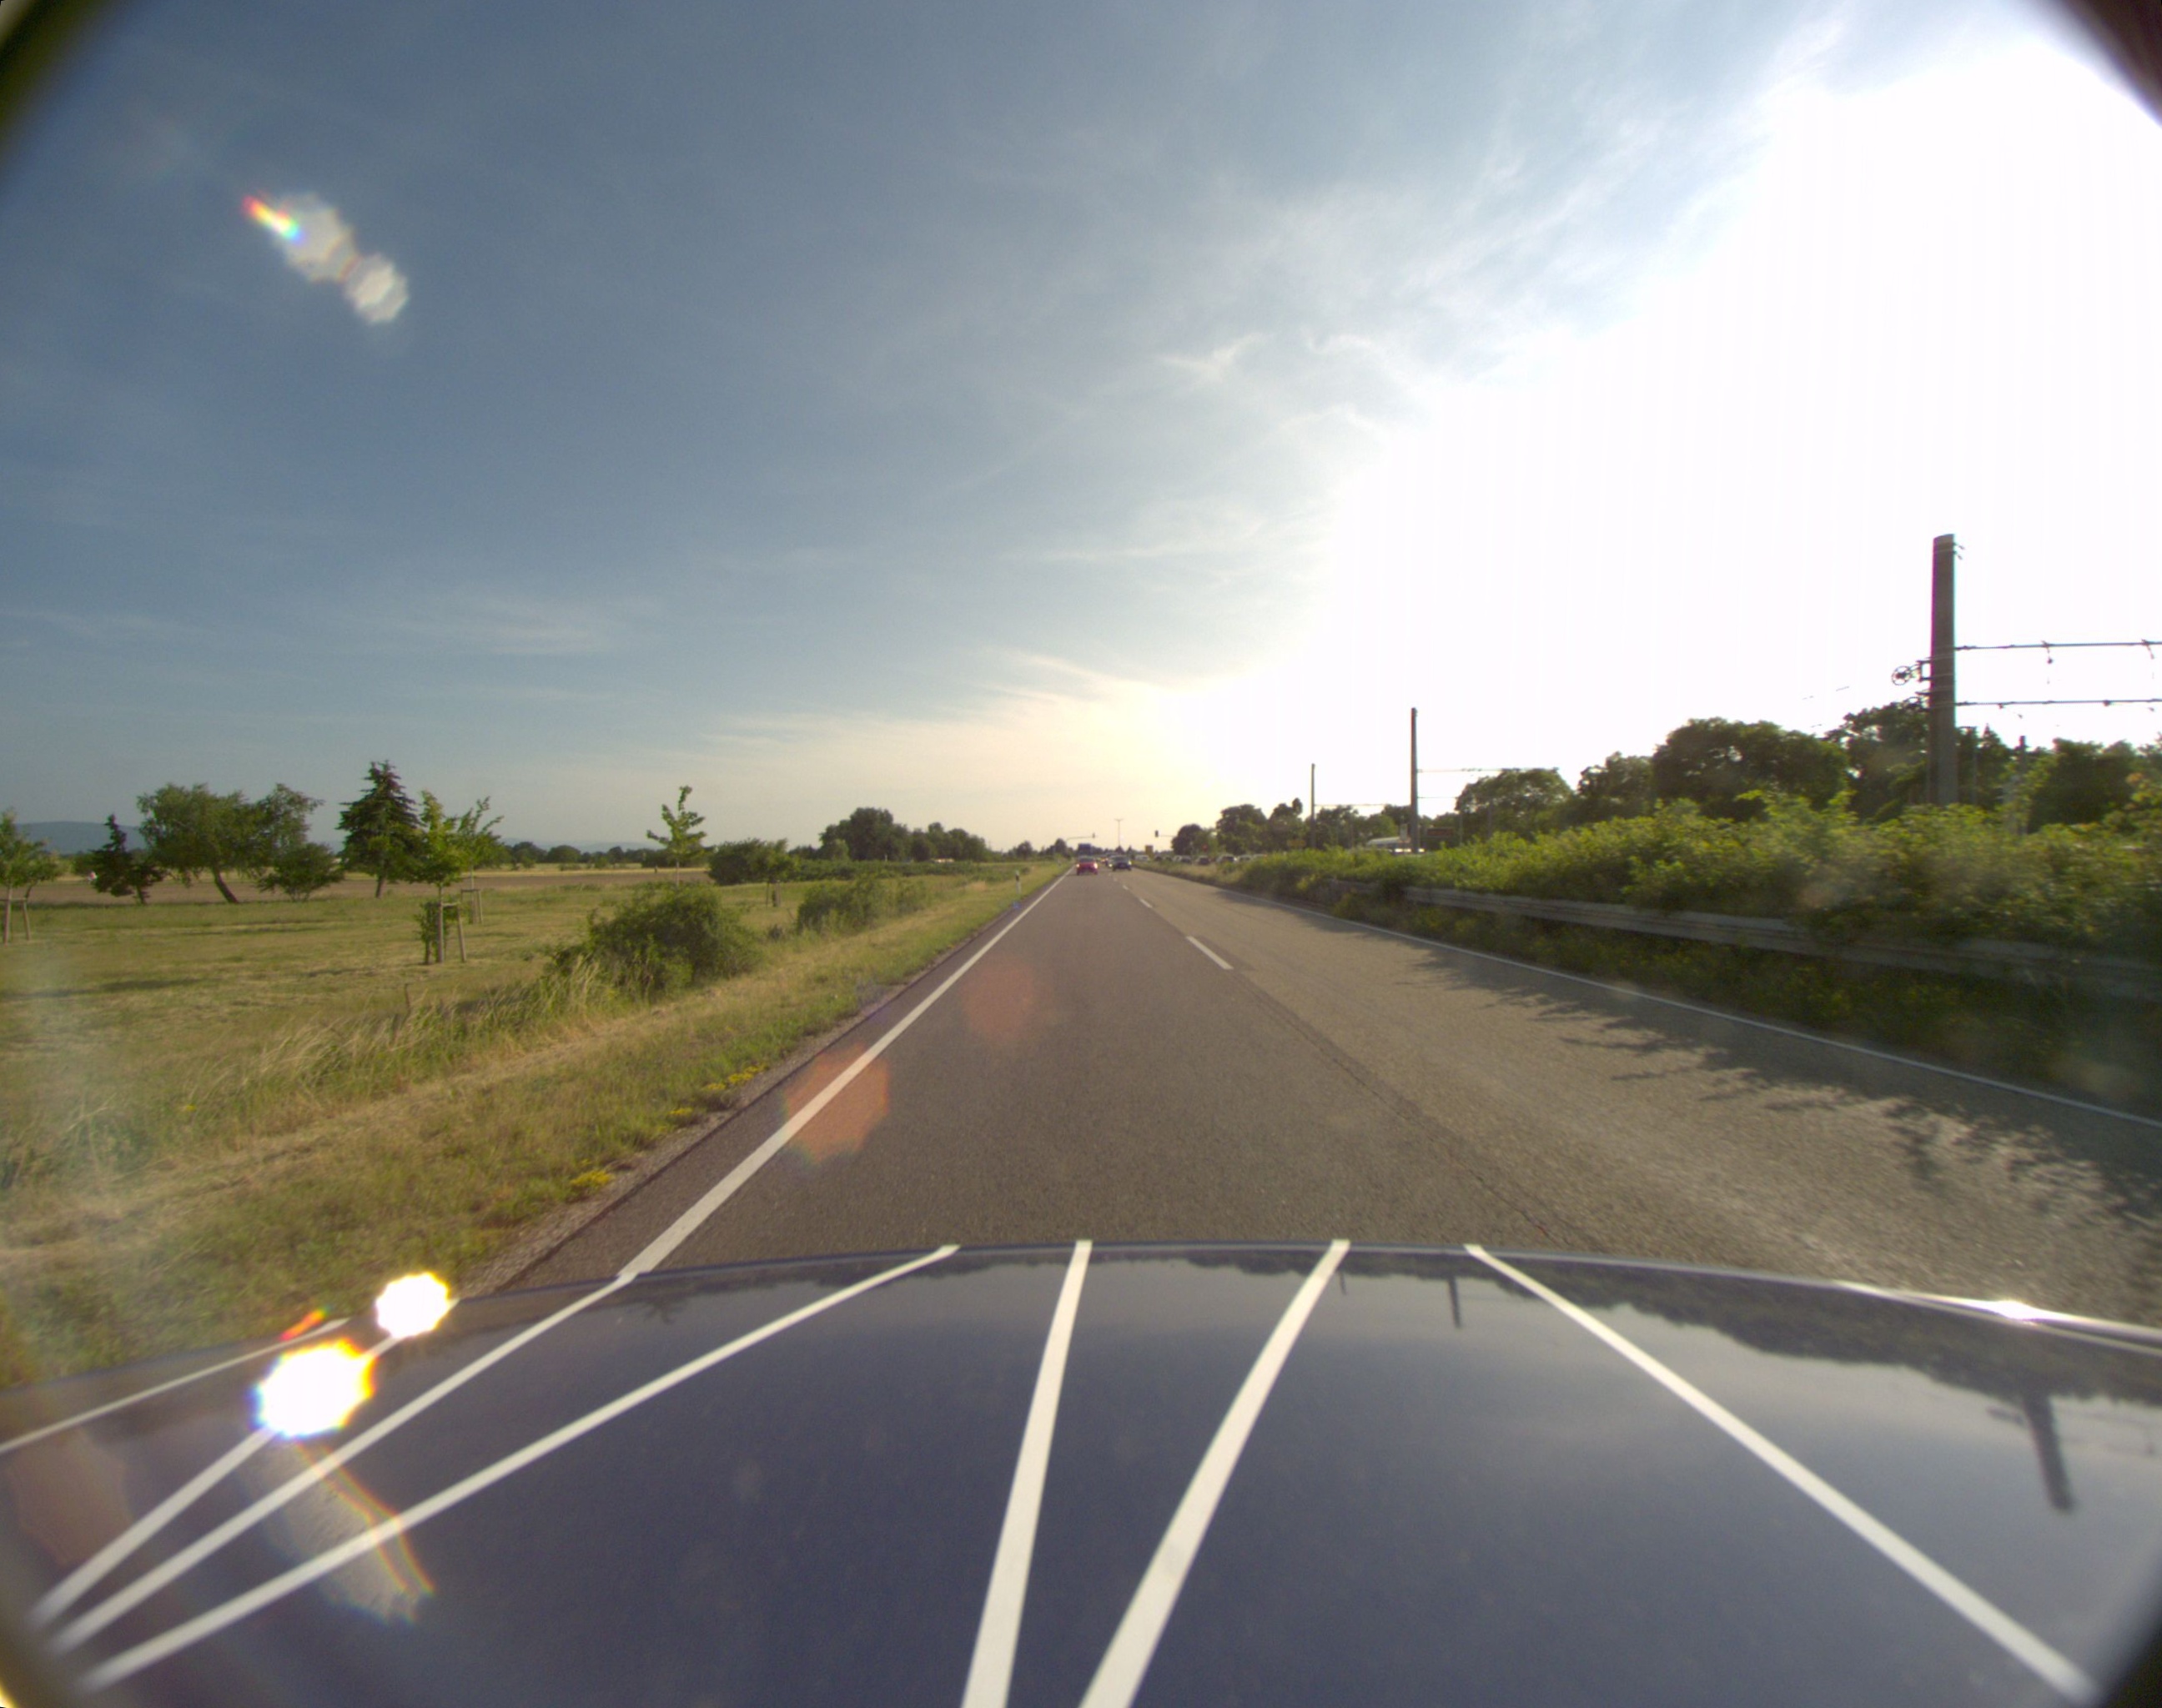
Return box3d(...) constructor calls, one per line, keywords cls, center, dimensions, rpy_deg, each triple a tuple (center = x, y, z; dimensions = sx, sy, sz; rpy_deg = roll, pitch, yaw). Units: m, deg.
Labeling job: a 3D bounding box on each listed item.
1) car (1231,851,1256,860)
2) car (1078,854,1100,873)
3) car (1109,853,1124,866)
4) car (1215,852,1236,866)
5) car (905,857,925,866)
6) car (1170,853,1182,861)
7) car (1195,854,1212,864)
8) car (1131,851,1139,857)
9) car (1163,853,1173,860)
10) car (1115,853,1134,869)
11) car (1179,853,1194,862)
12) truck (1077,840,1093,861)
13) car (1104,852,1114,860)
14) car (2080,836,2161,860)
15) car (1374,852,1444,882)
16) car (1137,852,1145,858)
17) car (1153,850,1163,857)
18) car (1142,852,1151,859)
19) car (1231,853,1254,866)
box3d(cls="car", center=(35.205, 0.296, 164.885), dimensions=(4.844, 1.876, 2.253), rpy_deg=(-2, 0, -4))
box3d(cls="car", center=(0.649, 0.731, 63.389), dimensions=(1.735, 1.467, 4.000), rpy_deg=(-2, 0, 1))
box3d(cls="car", center=(4.250, 0.625, 91.210), dimensions=(1.636, 1.442, 4.000), rpy_deg=(-2, 0, 1))
box3d(cls="car", center=(17.437, 0.566, 91.747), dimensions=(1.664, 1.677, 4.229), rpy_deg=(1, 0, 0))
box3d(cls="car", center=(-35.898, 1.627, 164.237), dimensions=(4.002, 1.641, 1.997), rpy_deg=(-2, 0, -15))
box3d(cls="car", center=(17.523, 0.554, 140.744), dimensions=(1.664, 1.373, 4.468), rpy_deg=(1, 0, 0))
box3d(cls="car", center=(17.320, 0.638, 107.487), dimensions=(1.664, 1.373, 4.541), rpy_deg=(1, 0, 0))
box3d(cls="car", center=(15.110, 0.043, 213.173), dimensions=(1.862, 1.735, 4.529), rpy_deg=(1, 0, 1))
box3d(cls="car", center=(18.138, 0.529, 158.278), dimensions=(1.664, 1.373, 4.000), rpy_deg=(1, 0, 0))
box3d(cls="car", center=(4.121, 0.645, 72.855), dimensions=(1.636, 1.500, 4.000), rpy_deg=(-2, 0, 1))
box3d(cls="car", center=(17.539, 0.585, 126.427), dimensions=(1.664, 1.407, 4.975), rpy_deg=(1, 0, 0))
box3d(cls="truck", center=(0.771, -0.697, 149.080), dimensions=(2.850, 3.896, 10.104), rpy_deg=(-2, 0, 1))
box3d(cls="car", center=(5.128, 0.396, 139.011), dimensions=(1.636, 1.442, 4.000), rpy_deg=(-2, 0, 1))
box3d(cls="car", center=(64.394, -0.361, 46.478), dimensions=(3.611, 1.358, 1.739), rpy_deg=(2, 0, 37))
box3d(cls="car", center=(16.716, 0.635, 39.012), dimensions=(1.664, 1.423, 4.448), rpy_deg=(1, 0, 0))
box3d(cls="car", center=(14.313, 0.192, 181.287), dimensions=(1.756, 1.499, 4.583), rpy_deg=(1, 0, 1))
box3d(cls="car", center=(18.002, -0.024, 177.872), dimensions=(1.801, 1.580, 4.000), rpy_deg=(1, 0, 0))
box3d(cls="car", center=(14.643, 0.303, 170.002), dimensions=(1.823, 1.461, 4.294), rpy_deg=(1, 0, 1))
box3d(cls="car", center=(17.252, 0.571, 81.365), dimensions=(1.664, 1.423, 3.805), rpy_deg=(1, 0, 0))
